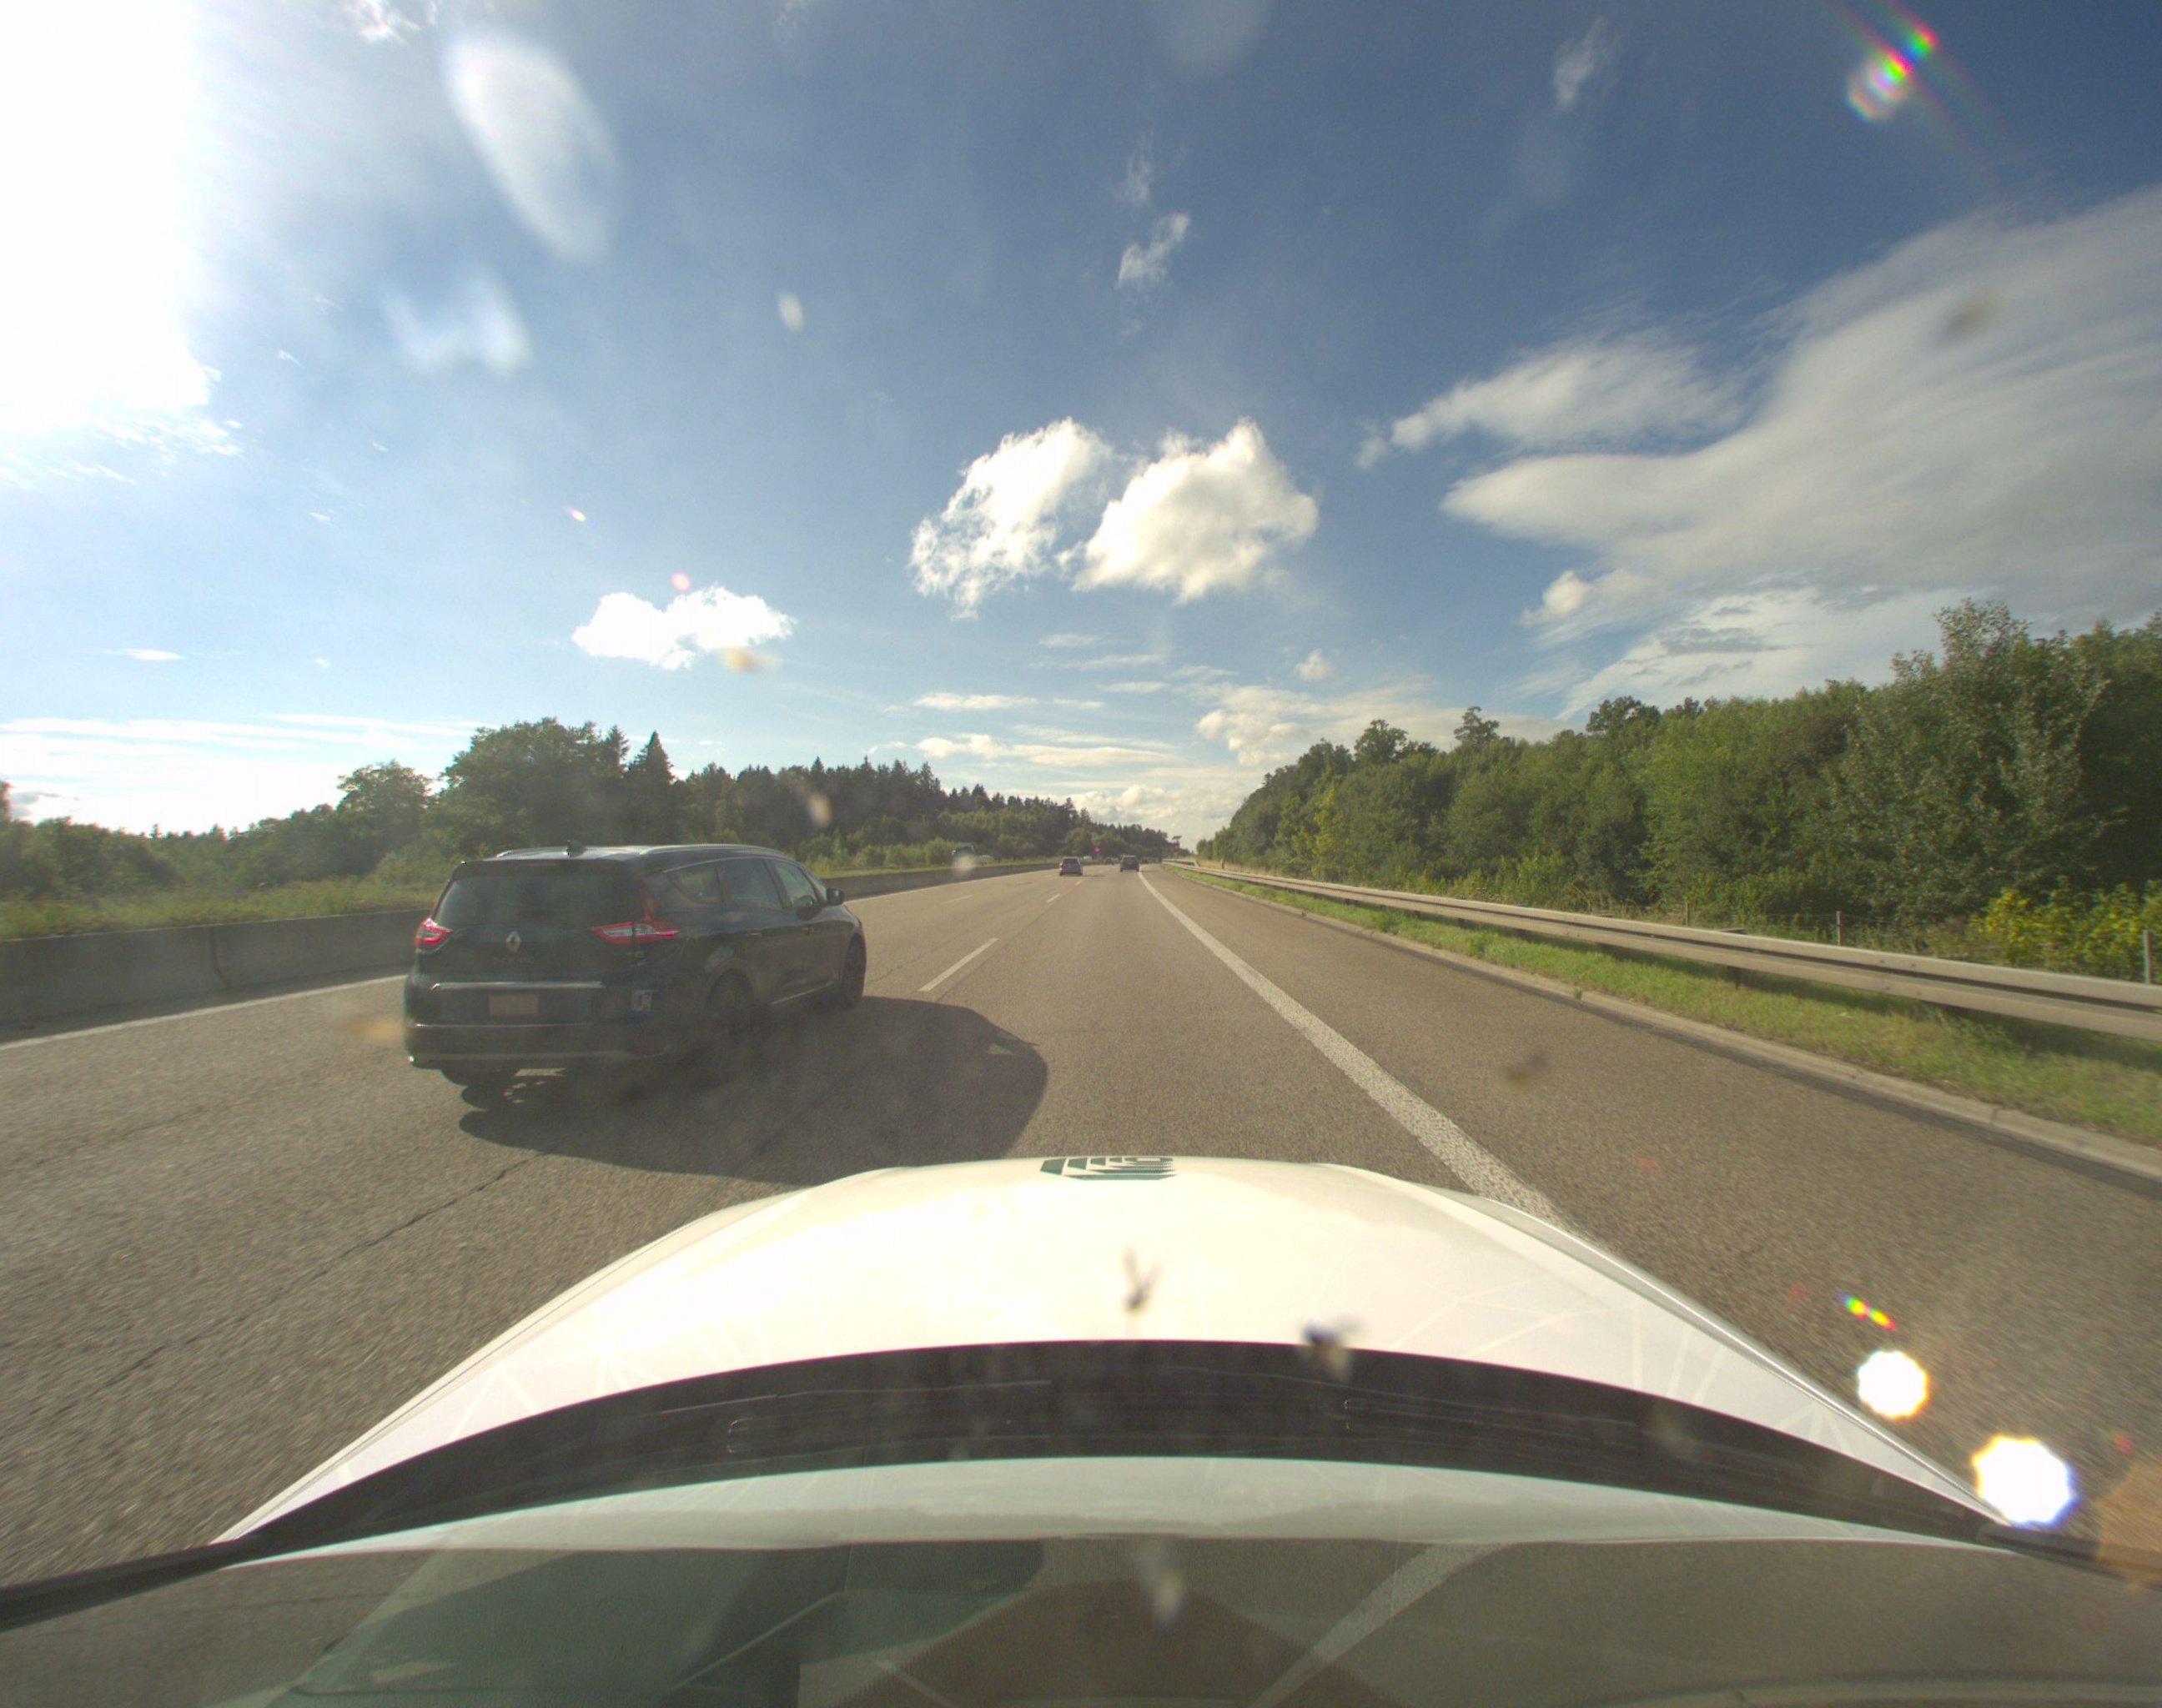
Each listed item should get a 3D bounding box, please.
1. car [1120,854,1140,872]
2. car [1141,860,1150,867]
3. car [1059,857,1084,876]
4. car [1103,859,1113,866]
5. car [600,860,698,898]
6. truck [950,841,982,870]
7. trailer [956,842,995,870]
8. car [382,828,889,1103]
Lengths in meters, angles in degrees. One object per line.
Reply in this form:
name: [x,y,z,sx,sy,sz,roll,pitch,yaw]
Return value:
car: [4.958,0.888,82.286,1.866,1.675,3.892,-1,0,2]
car: [15.324,2.246,193.749,1.803,1.706,4.007,-1,0,6]
car: [-0.755,0.974,66.905,1.866,1.497,3.881,-1,0,2]
car: [5.874,1.783,176.648,1.864,1.497,3.887,-1,0,6]
car: [-17.884,1.003,33.936,1.834,1.457,4.002,-1,0,2]
truck: [-16.411,0.253,116.474,3.361,4.009,5.869,-1,0,3]
trailer: [-15.925,0.296,124.363,3.361,4.009,13.652,-1,0,4]
car: [-3.334,0.707,7.374,1.986,1.707,4.531,-1,0,2]
